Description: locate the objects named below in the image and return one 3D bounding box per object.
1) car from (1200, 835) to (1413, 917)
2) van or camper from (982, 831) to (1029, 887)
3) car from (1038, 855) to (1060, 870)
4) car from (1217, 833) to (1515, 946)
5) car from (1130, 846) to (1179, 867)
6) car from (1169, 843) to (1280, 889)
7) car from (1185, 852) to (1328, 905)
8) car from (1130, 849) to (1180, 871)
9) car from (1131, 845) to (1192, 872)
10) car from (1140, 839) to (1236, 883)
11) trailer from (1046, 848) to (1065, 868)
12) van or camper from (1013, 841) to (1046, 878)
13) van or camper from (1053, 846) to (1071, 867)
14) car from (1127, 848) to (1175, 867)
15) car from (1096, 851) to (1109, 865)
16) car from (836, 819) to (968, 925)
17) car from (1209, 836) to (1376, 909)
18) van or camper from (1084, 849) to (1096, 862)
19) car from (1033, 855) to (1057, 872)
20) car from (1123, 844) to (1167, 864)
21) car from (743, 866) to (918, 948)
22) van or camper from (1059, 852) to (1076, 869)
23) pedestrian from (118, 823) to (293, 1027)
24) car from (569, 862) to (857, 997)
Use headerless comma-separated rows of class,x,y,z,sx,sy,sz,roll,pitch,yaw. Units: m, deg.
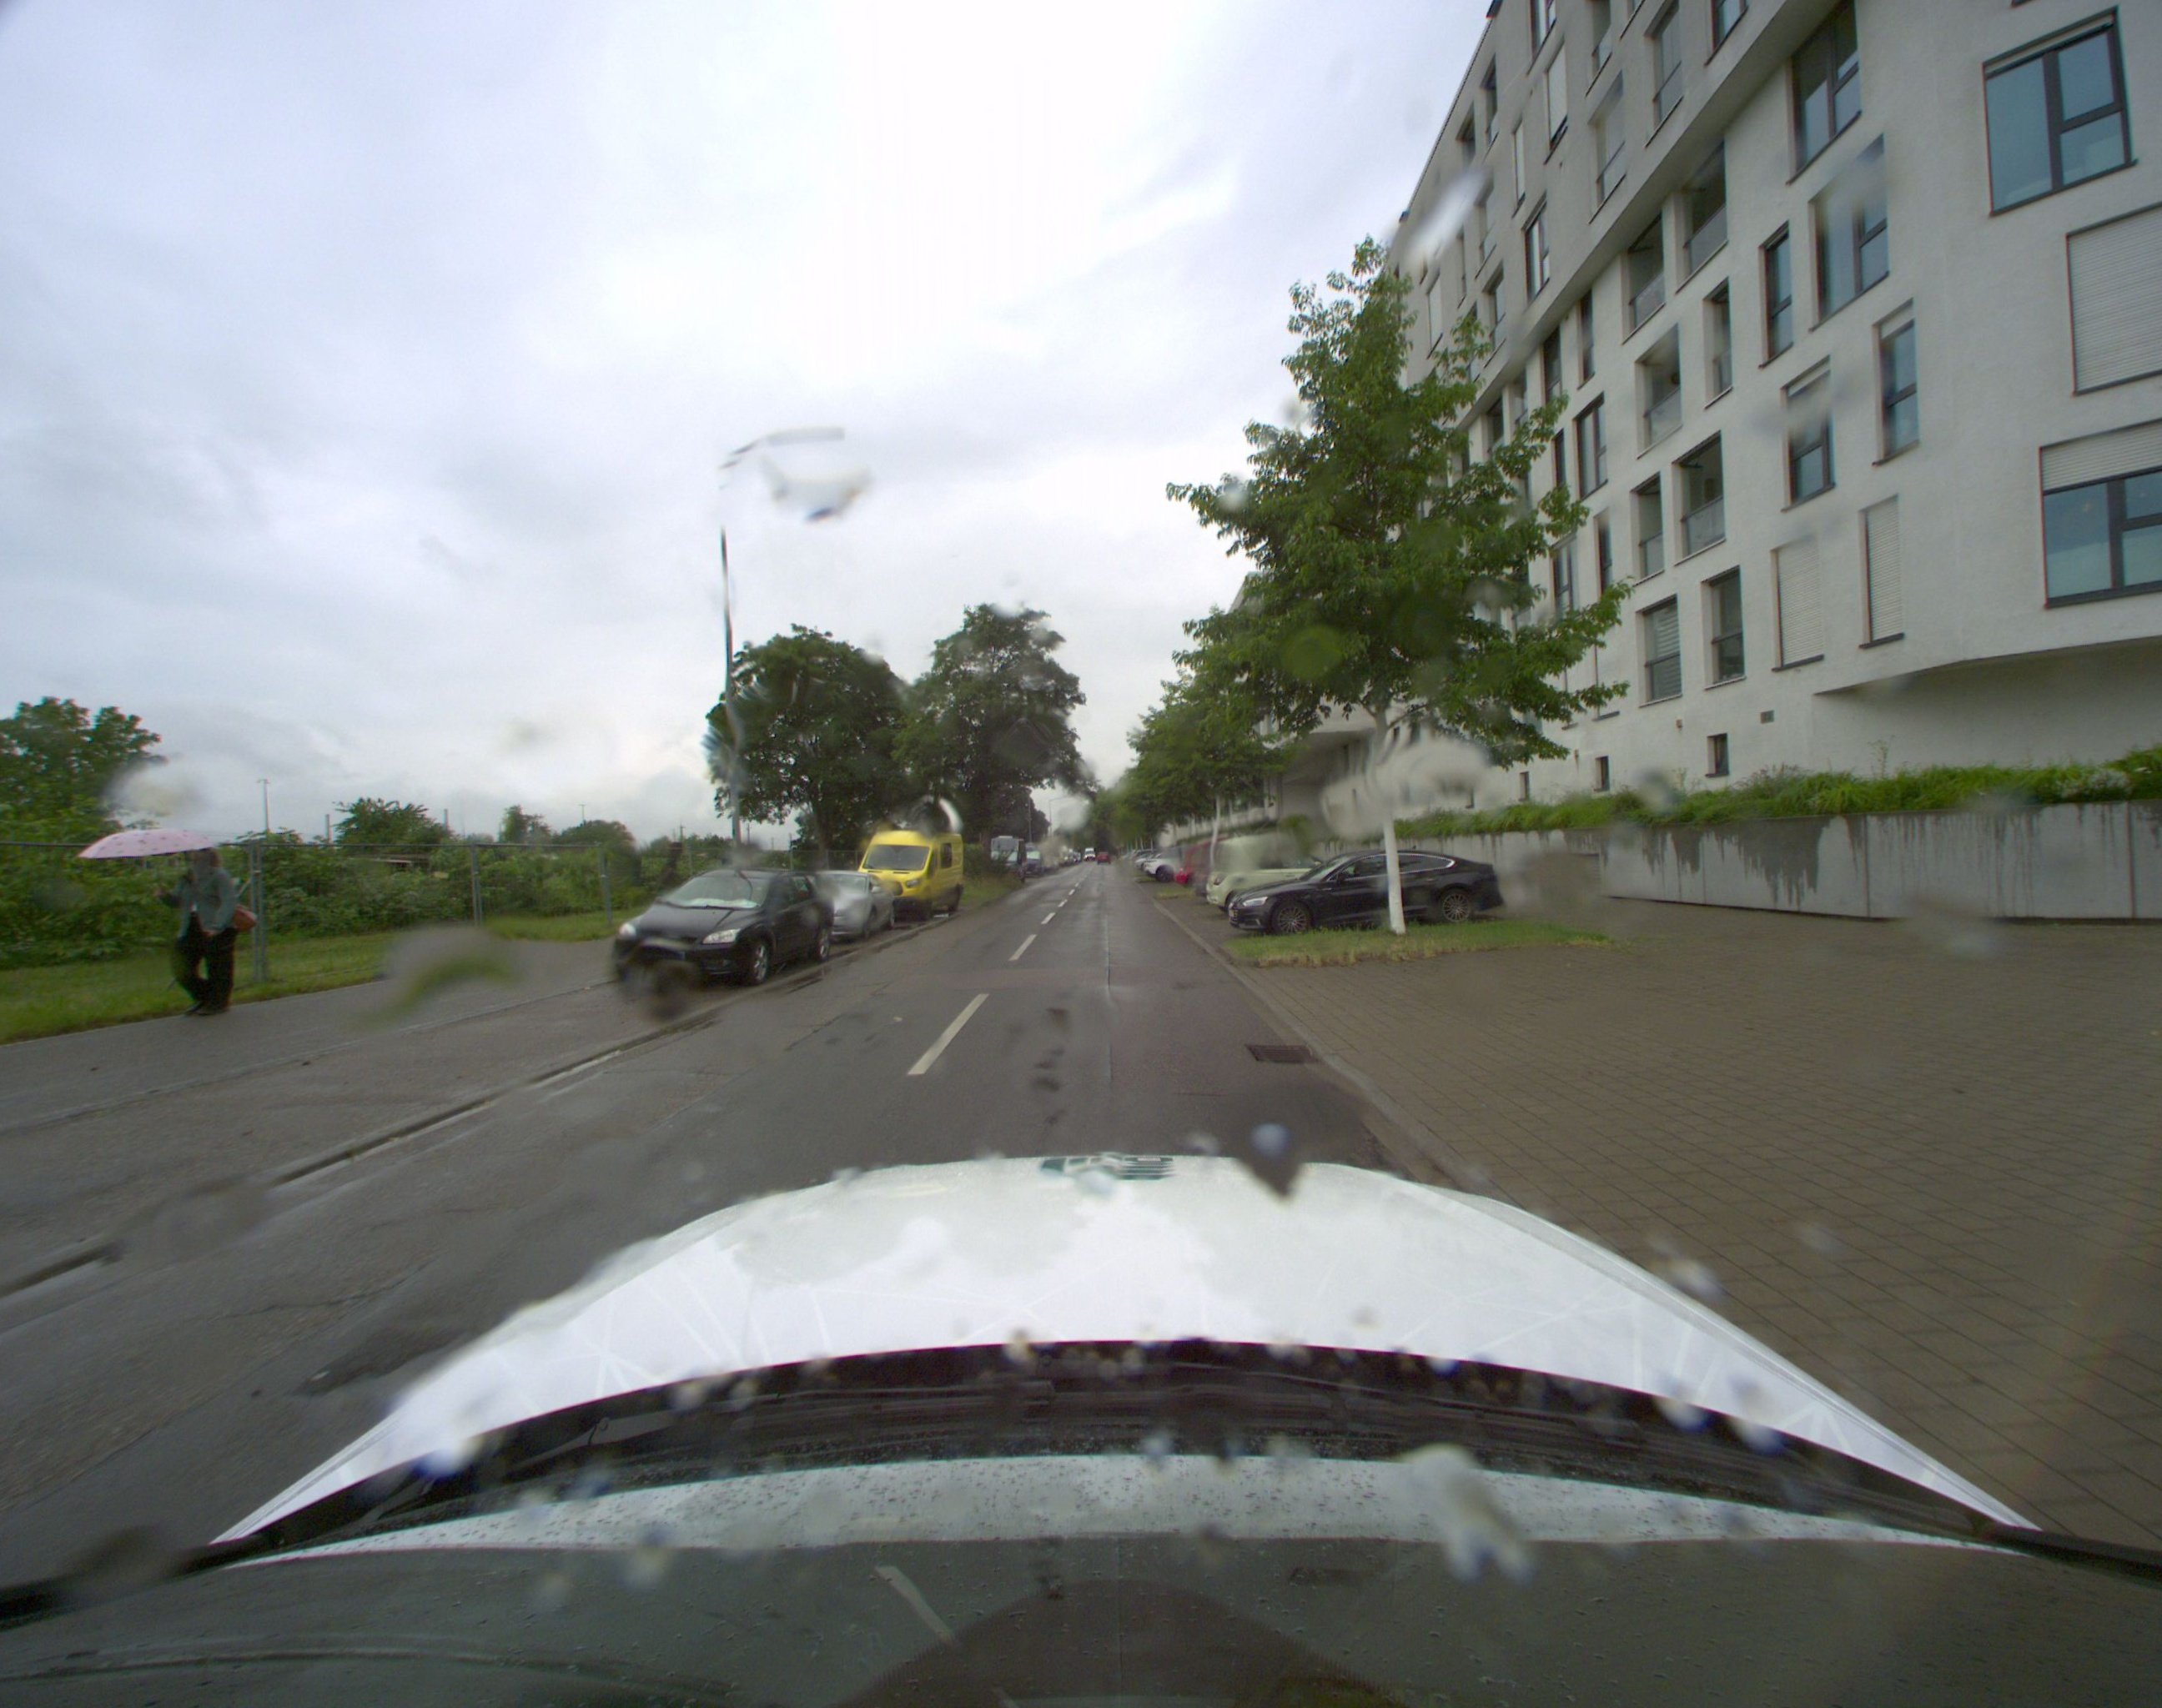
car,5.188,0.499,19.165,4.472,1.481,1.692,-5,0,1
van or camper,-4.389,0.292,48.483,2.087,3.094,6.424,0,-1,1
car,-3.231,0.845,82.912,1.880,1.526,5.110,0,0,1
car,4.884,0.597,14.433,4.555,1.497,1.825,-5,0,0
car,6.658,0.235,73.803,4.150,1.624,1.896,-4,0,-2
car,5.553,0.470,31.910,3.974,1.451,1.821,-4,-1,0
car,5.206,0.711,24.455,3.945,1.474,1.591,-1,0,-1
car,6.193,0.479,68.622,3.973,1.509,1.685,-4,1,1
car,6.254,0.343,63.815,4.462,1.686,1.935,-5,0,-1
car,5.479,0.359,42.102,4.527,1.685,1.885,-7,0,-2
trailer,-3.022,0.464,98.600,2.052,2.218,5.794,-1,0,0
van or camper,-3.962,0.418,64.118,2.088,2.715,7.573,0,-1,0
van or camper,-2.564,0.370,111.328,1.986,2.762,7.901,-1,0,2
car,6.543,0.342,76.207,4.286,1.428,1.636,-4,0,-1
car,2.952,0.543,111.568,1.750,1.706,4.001,-2,0,2
car,-5.025,0.462,23.920,2.182,2.694,6.086,0,0,3
car,5.568,0.474,21.808,3.972,1.555,1.635,-5,0,1
van or camper,1.877,0.234,162.946,1.986,2.497,7.182,-3,0,2
car,-3.323,0.889,75.878,1.767,1.502,4.830,0,0,2
car,7.127,0.000,91.158,4.607,2.019,1.856,-2,0,-3
car,-5.133,1.017,17.591,2.003,1.434,5.340,1,0,1
van or camper,-2.023,0.975,124.956,2.181,2.461,6.380,-1,0,2
pedestrian,-9.199,0.705,8.600,0.739,2.013,0.981,-1,0,2
car,-5.087,0.933,12.254,1.987,1.594,5.017,0,0,1
